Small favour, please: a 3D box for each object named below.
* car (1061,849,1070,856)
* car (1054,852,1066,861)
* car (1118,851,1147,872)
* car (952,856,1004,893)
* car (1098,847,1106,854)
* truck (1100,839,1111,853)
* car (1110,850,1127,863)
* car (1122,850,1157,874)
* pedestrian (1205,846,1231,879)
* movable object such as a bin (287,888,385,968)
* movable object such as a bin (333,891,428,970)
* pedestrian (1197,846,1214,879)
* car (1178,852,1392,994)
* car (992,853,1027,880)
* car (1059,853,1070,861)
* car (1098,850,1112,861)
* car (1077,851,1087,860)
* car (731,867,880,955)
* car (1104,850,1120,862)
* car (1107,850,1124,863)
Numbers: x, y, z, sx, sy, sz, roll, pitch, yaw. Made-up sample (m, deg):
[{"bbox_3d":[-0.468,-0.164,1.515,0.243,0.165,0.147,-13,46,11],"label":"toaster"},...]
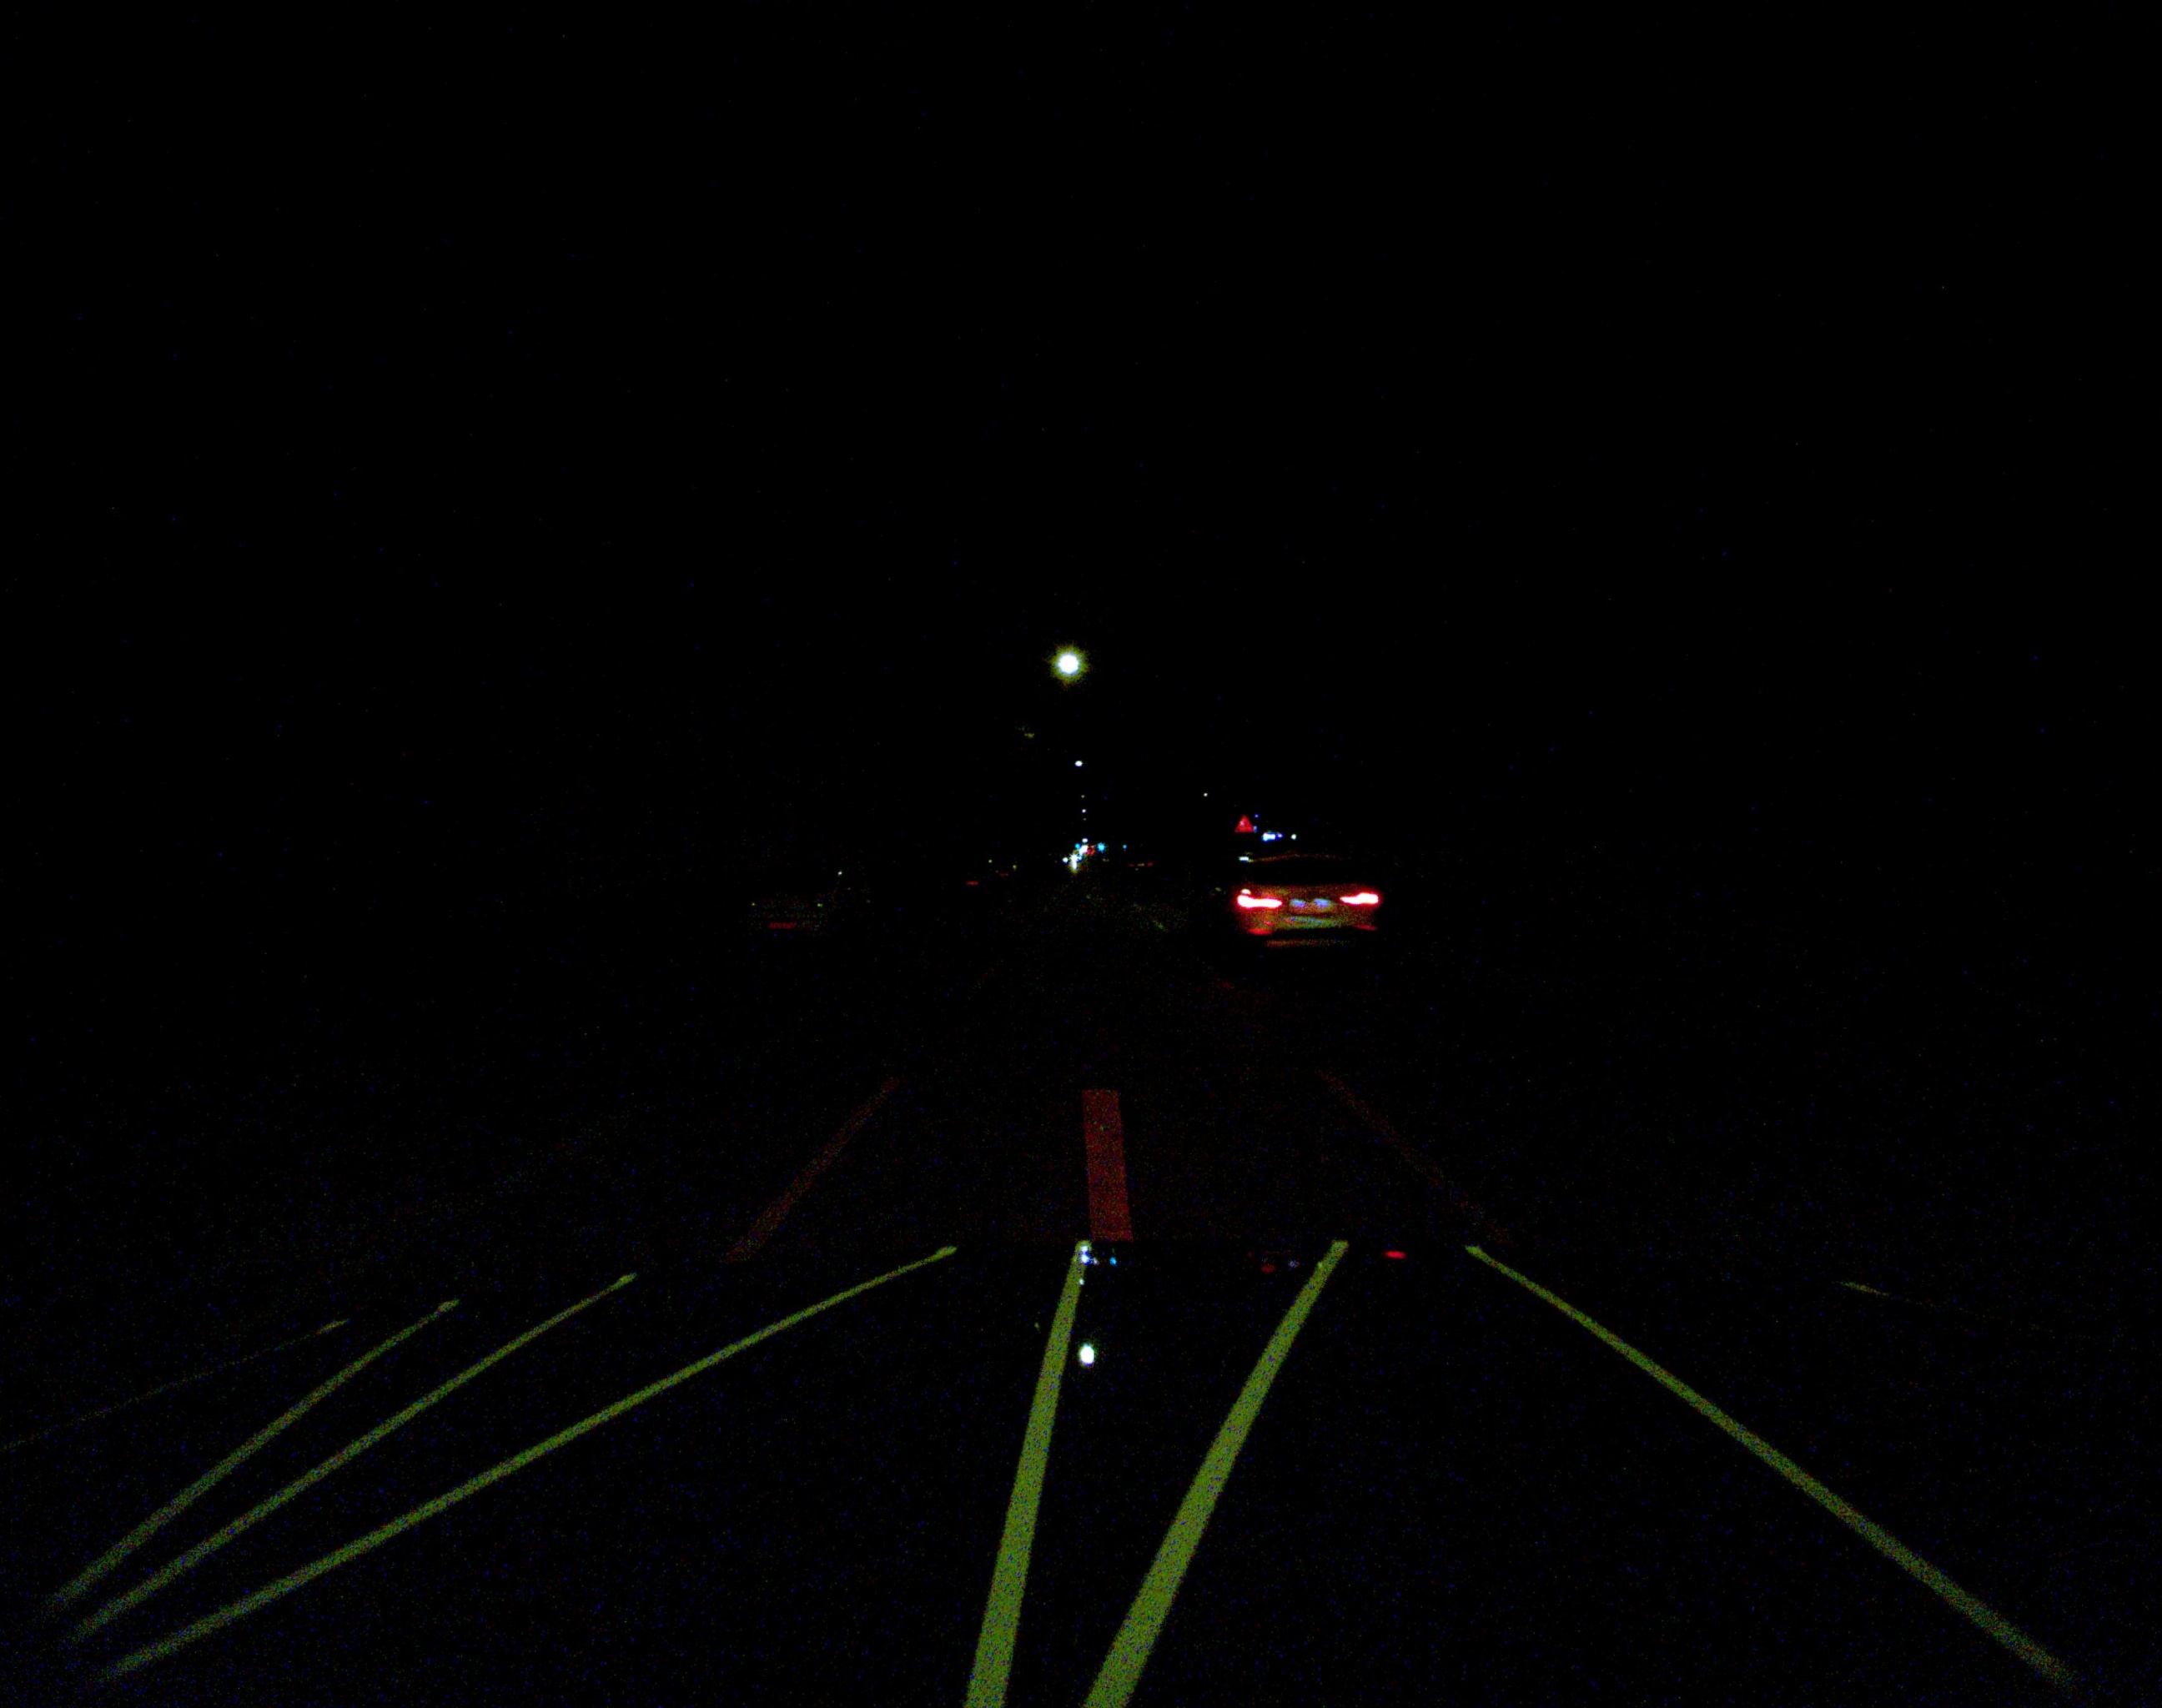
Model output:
[{"bbox_3d":[-3.312,-0.414,162.784,1.874,1.407,3.999,-2,0,0],"label":"car"},{"bbox_3d":[-3.576,0.391,128.946,1.874,1.407,3.999,-2,0,0],"label":"car"},{"bbox_3d":[3.893,0.560,57.832,1.864,1.458,3.896,-4,0,-1],"label":"car"},{"bbox_3d":[-4.568,0.870,34.276,1.865,1.544,4.044,0,0,-1],"label":"car"},{"bbox_3d":[5.005,-0.761,180.300,1.873,1.551,4.353,-2,0,1],"label":"car"},{"bbox_3d":[4.971,-1.626,155.495,2.084,2.562,6.873,-2,0,1],"label":"truck"},{"bbox_3d":[4.969,0.327,100.856,1.874,1.635,3.999,-2,0,-3],"label":"car"},{"bbox_3d":[3.971,0.517,52.317,1.864,1.524,4.587,-4,0,-1],"label":"car"},{"bbox_3d":[7.099,0.440,39.255,1.105,1.662,0.742,-3,2,-40],"label":"pedestrian"},{"bbox_3d":[-10.630,1.041,10.866,0.609,1.042,0.755,-2,1,1],"label":"movable object such as a bin"},{"bbox_3d":[-9.997,1.076,10.871,0.609,1.042,0.755,-2,1,1],"label":"movable object such as a bin"},{"bbox_3d":[6.582,0.443,40.308,0.670,1.716,0.866,-2,1,-2],"label":"pedestrian"},{"bbox_3d":[2.581,0.780,10.660,1.862,1.525,4.027,-2,0,0],"label":"car"},{"bbox_3d":[-4.451,0.770,47.797,1.742,1.588,4.359,0,0,1],"label":"car"},{"bbox_3d":[-2.979,0.566,134.787,1.874,1.407,3.999,-2,0,0],"label":"car"},{"bbox_3d":[3.731,0.206,119.482,1.874,1.635,3.999,-2,0,-3],"label":"car"},{"bbox_3d":[0.218,0.298,158.821,1.874,1.635,3.999,-2,0,0],"label":"car"},{"bbox_3d":[-5.336,1.029,15.189,1.672,1.476,3.603,0,0,0],"label":"car"},{"bbox_3d":[4.444,0.296,110.051,1.874,1.635,3.999,-2,0,-3],"label":"car"},{"bbox_3d":[4.726,0.355,105.112,1.874,1.635,3.999,-2,0,-3],"label":"car"}]
